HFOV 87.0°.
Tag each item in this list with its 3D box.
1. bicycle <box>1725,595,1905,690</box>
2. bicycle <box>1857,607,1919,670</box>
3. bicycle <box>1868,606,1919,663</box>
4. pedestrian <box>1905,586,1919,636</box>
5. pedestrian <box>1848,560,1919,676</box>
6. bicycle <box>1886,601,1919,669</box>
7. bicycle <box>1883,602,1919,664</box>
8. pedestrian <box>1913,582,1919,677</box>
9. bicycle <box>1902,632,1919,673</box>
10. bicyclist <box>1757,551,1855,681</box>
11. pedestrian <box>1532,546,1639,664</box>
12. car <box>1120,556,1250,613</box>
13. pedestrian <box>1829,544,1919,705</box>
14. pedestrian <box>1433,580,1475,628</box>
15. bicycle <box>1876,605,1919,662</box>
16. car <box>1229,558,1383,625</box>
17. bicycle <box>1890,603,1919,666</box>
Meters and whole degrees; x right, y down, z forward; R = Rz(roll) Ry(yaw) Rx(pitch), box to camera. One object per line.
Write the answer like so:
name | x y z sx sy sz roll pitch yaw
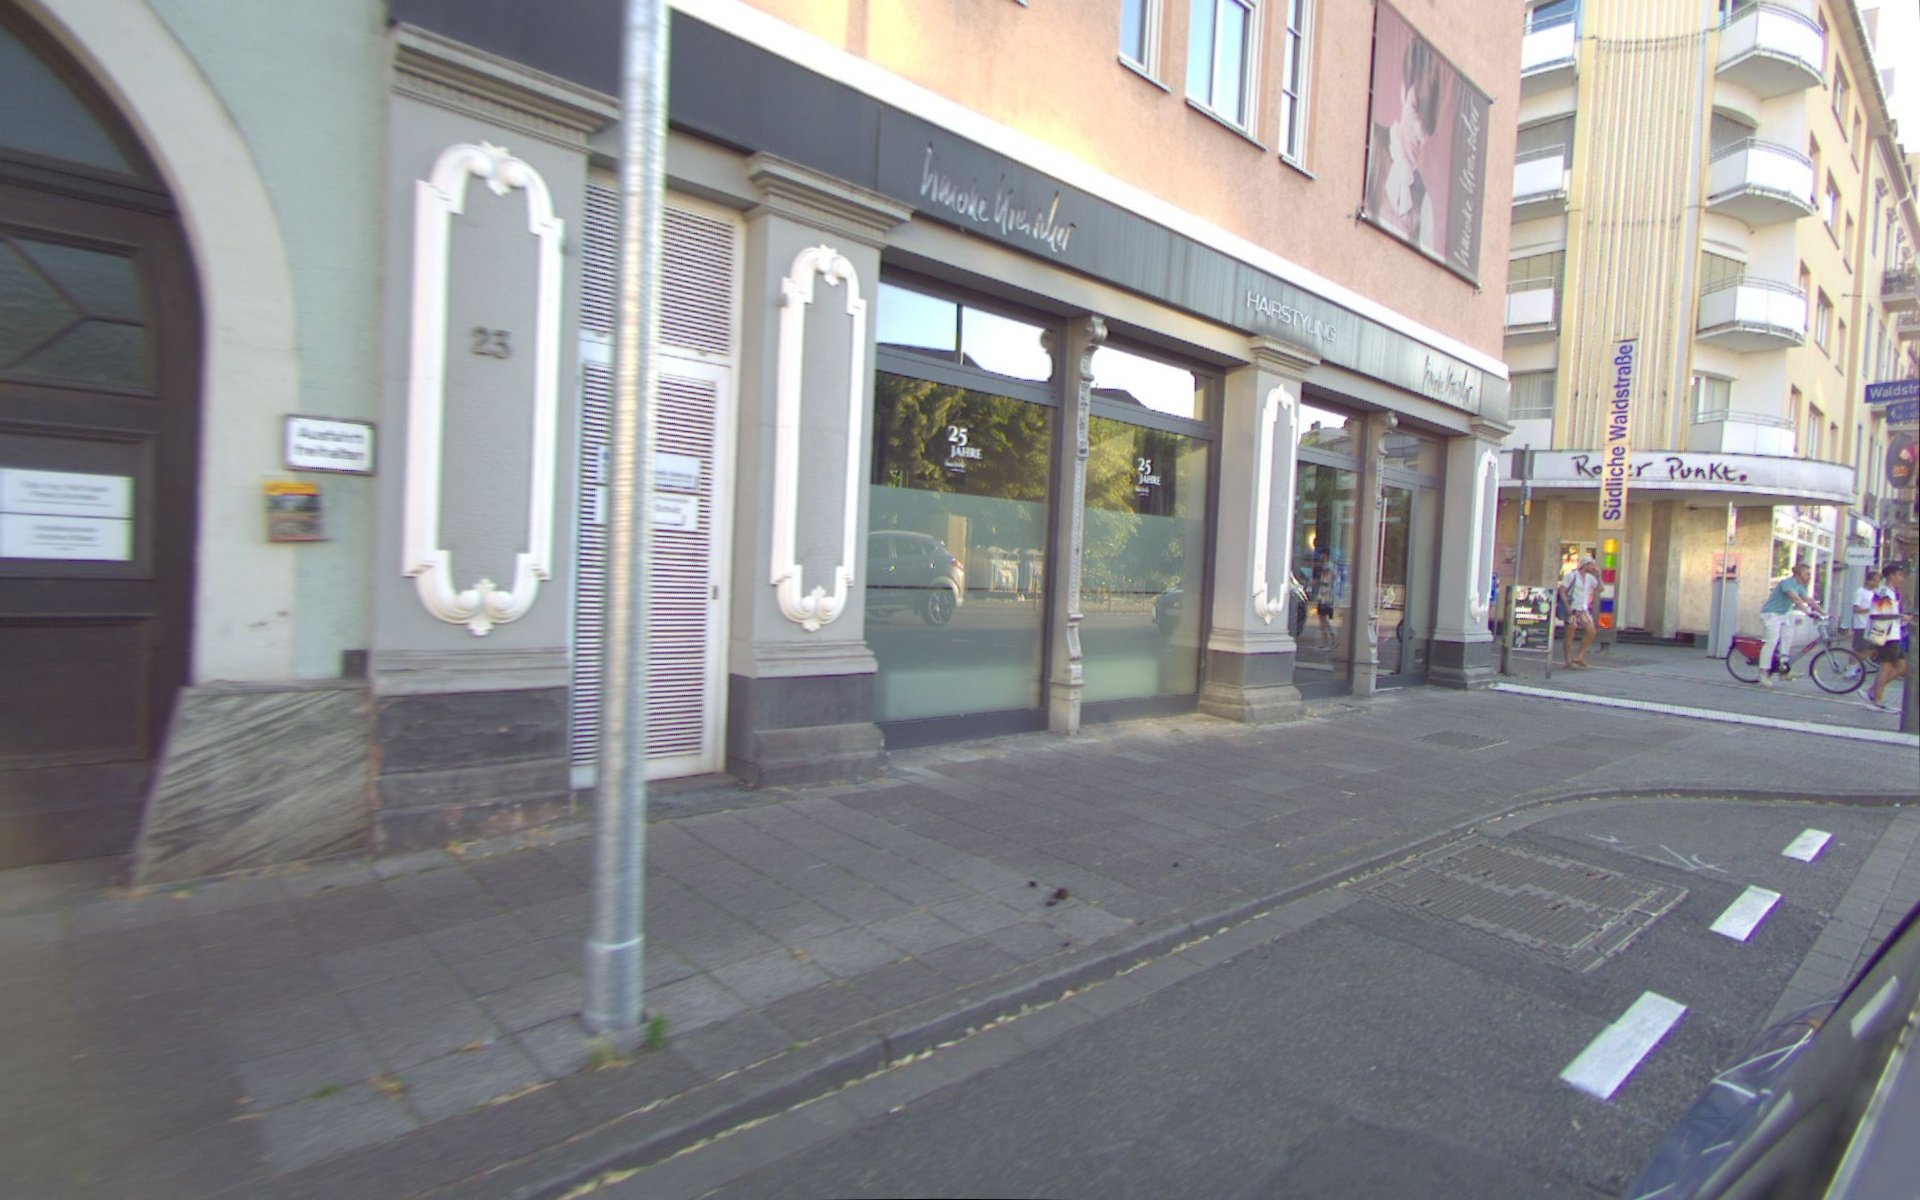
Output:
bicycle | 12.603 0.590 14.978 0.778 1.200 1.828 1 3 -33
bicycle | 17.760 0.742 18.594 1.779 1.076 0.709 6 3 37
bicycle | 20.134 0.760 20.759 2.169 1.088 0.794 6 4 42
pedestrian | 40.157 0.464 42.419 0.836 2.038 0.673 1 2 -42
pedestrian | 15.490 0.275 16.870 0.821 1.839 0.861 4 2 35
bicycle | 18.658 0.708 18.970 1.844 1.254 0.629 5 3 43
bicycle | 19.659 0.716 20.117 1.779 1.187 0.614 6 3 37
pedestrian | 16.634 0.489 16.793 0.765 1.673 0.792 3 2 1
bicycle | 17.490 0.961 17.956 1.003 0.689 1.036 5 3 39
bicyclist | 12.557 0.217 15.023 0.815 1.848 0.836 1 2 -34
pedestrian | 9.973 0.063 16.163 0.809 1.796 1.103 2 2 -24
car | 7.249 -0.550 33.060 1.905 1.604 4.453 2 2 -22
pedestrian | 11.651 0.292 12.639 0.932 1.920 0.818 4 2 27
pedestrian | 12.909 0.097 26.442 0.691 1.199 0.638 1 2 -25
bicycle | 20.795 0.758 21.494 1.841 1.136 0.587 6 4 37
car | 9.521 -0.276 28.154 1.797 1.611 3.999 2 2 -22
bicycle | 19.197 0.733 19.468 1.779 1.187 0.614 6 3 37
